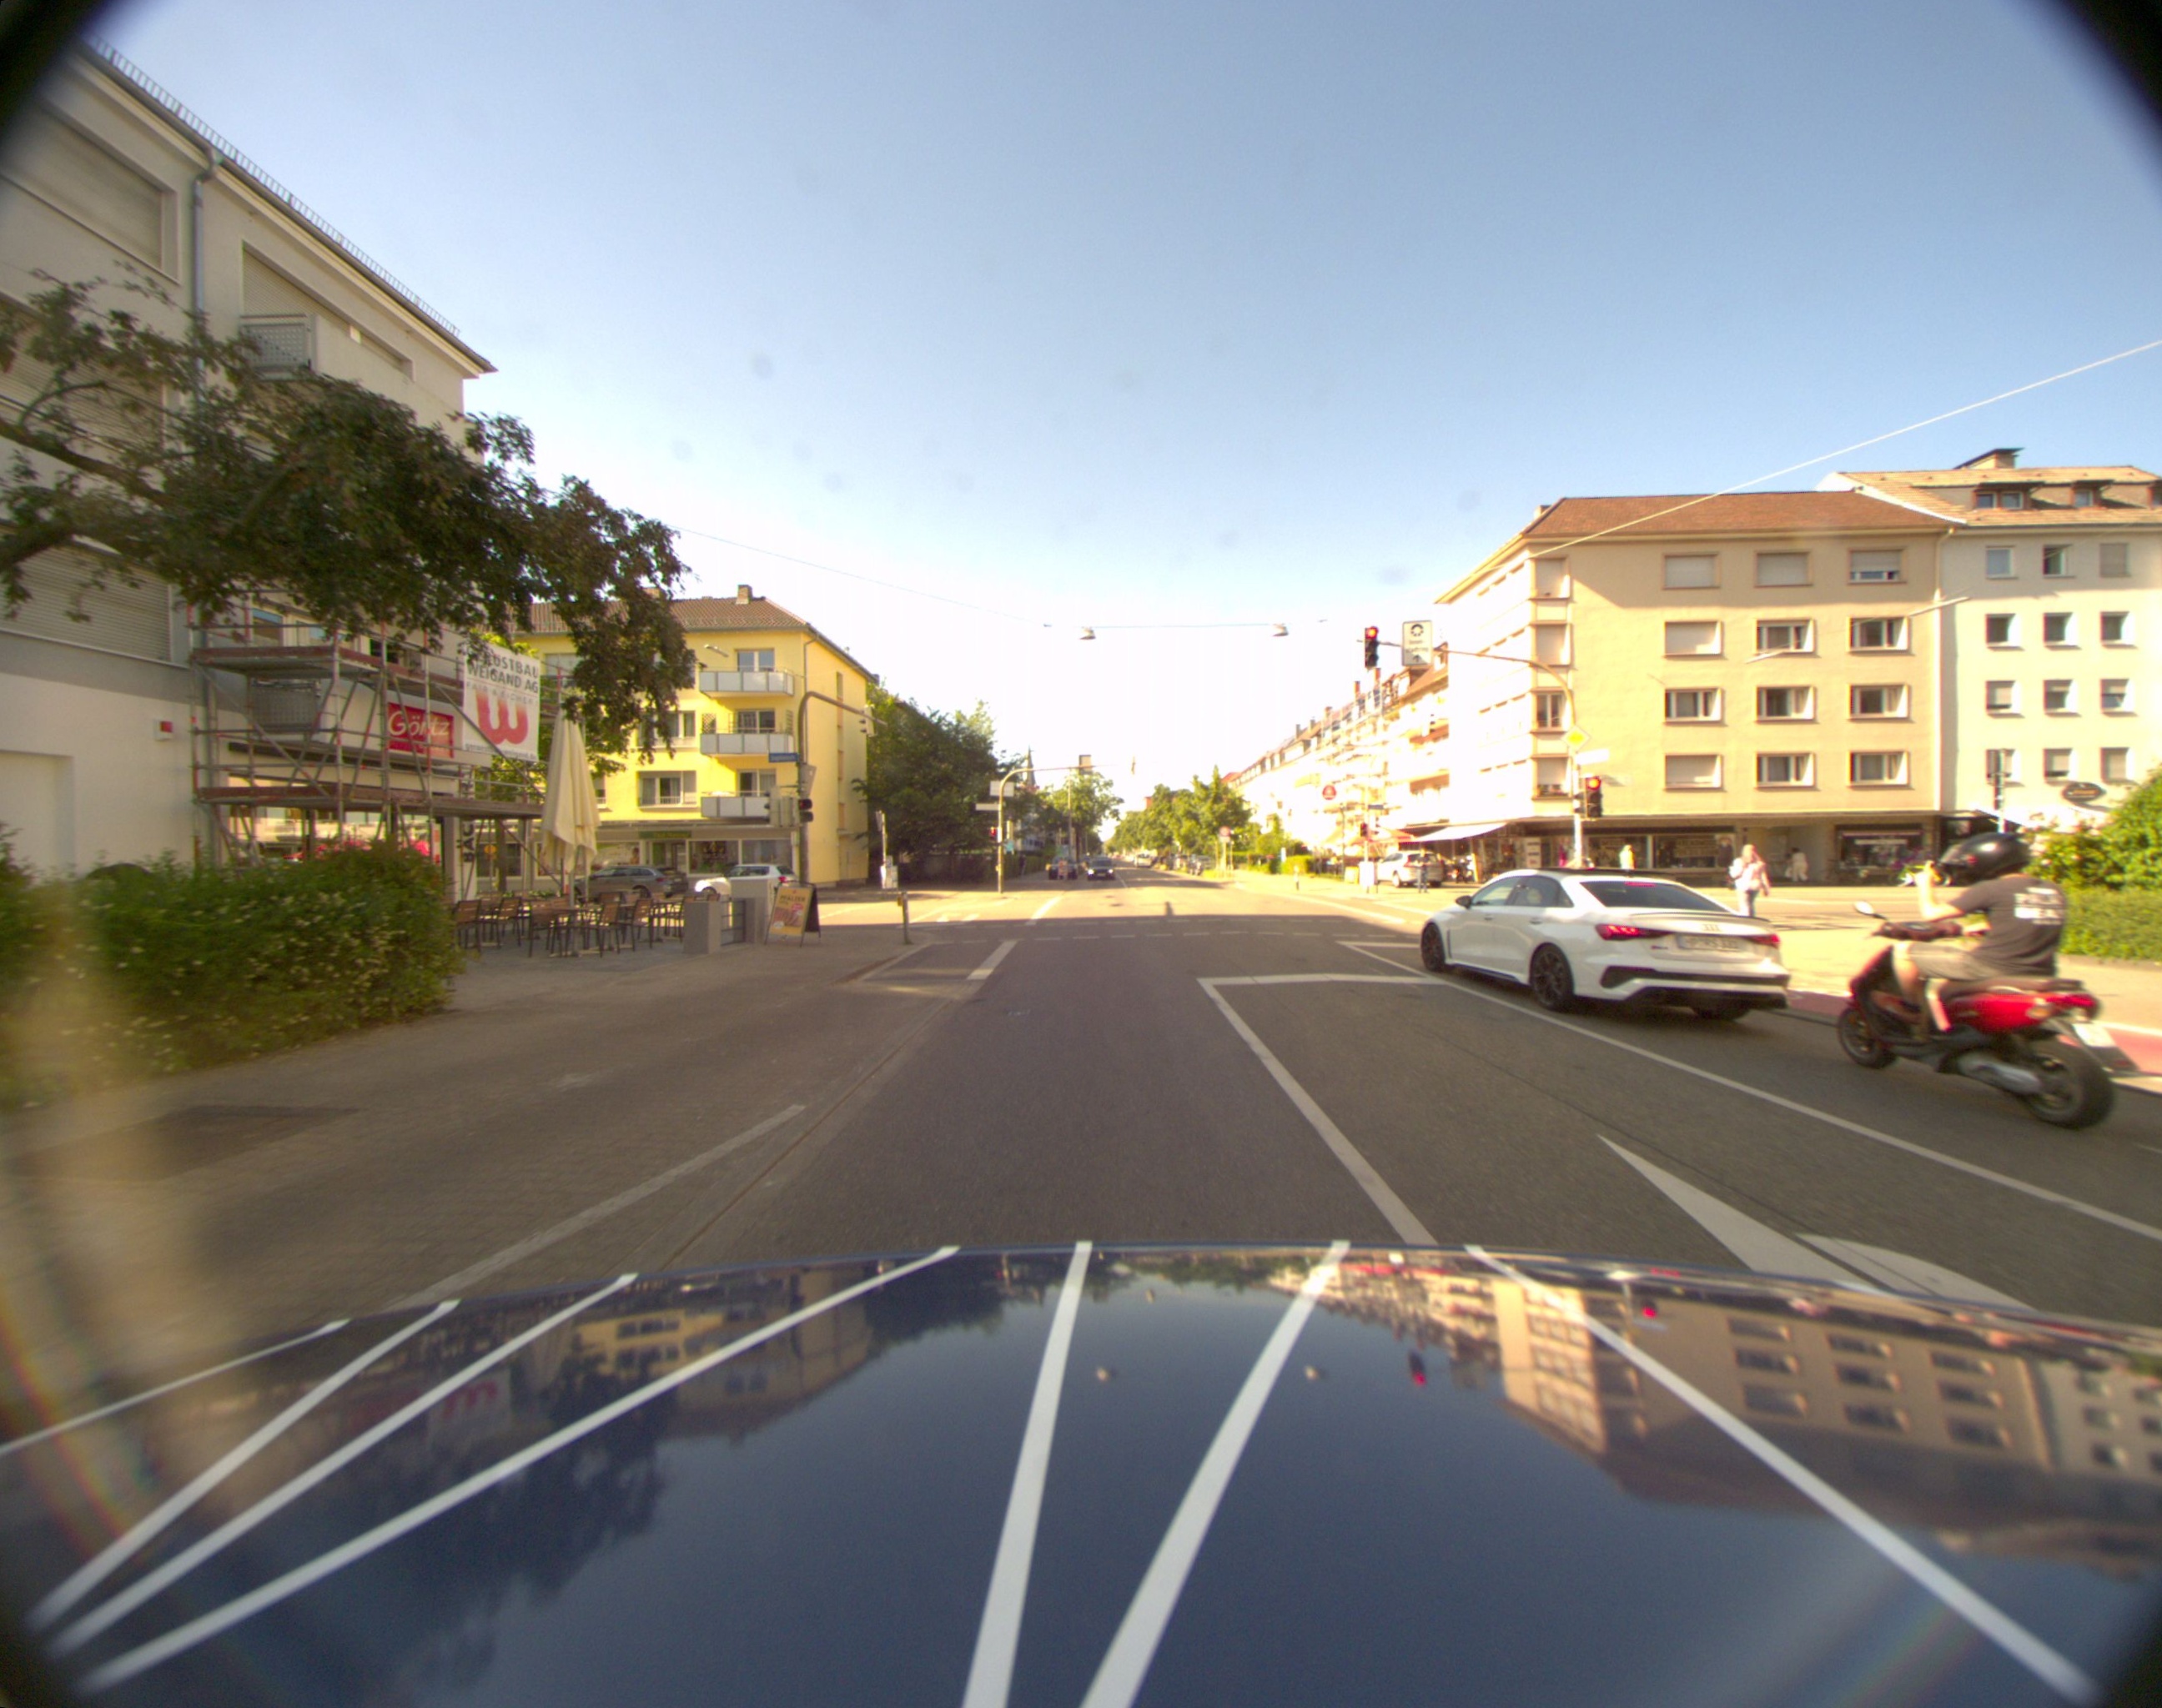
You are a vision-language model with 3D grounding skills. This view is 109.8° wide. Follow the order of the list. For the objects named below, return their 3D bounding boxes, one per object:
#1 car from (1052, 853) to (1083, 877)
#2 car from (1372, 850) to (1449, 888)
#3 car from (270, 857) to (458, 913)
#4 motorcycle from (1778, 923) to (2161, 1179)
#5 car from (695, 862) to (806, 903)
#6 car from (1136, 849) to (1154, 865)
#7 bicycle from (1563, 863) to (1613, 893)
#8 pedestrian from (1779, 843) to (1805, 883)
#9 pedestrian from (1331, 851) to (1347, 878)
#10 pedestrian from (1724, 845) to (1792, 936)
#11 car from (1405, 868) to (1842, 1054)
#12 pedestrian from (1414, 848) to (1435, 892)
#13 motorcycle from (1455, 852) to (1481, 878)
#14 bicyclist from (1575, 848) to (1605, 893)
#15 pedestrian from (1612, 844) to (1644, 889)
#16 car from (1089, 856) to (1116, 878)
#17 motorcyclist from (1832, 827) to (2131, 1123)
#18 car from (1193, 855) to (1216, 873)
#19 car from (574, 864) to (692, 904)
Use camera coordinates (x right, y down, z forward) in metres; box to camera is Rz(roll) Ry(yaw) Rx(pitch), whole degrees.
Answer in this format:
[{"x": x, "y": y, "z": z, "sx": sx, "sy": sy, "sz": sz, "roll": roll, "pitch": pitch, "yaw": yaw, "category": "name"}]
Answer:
[{"x": -0.871, "y": 0.693, "z": 52.088, "sx": 1.822, "sy": 1.541, "sz": 4.304, "roll": -1, "pitch": 0, "yaw": 2, "category": "car"}, {"x": 14.882, "y": 0.624, "z": 34.588, "sx": 1.764, "sy": 1.613, "sz": 4.304, "roll": -1, "pitch": 0, "yaw": 2, "category": "car"}, {"x": -25.426, "y": 1.078, "z": 27.058, "sx": 4.961, "sy": 1.849, "sz": 1.866, "roll": -1, "pitch": -1, "yaw": 1, "category": "car"}, {"x": 5.472, "y": 1.089, "z": 4.821, "sx": 0.449, "sy": 1.115, "sz": 1.933, "roll": 2, "pitch": 0, "yaw": 6, "category": "motorcycle"}, {"x": -12.876, "y": 1.094, "z": 29.733, "sx": 3.644, "sy": 1.473, "sz": 1.481, "roll": -1, "pitch": 1, "yaw": 2, "category": "car"}, {"x": 7.940, "y": 0.340, "z": 94.378, "sx": 1.965, "sy": 1.910, "sz": 5.497, "roll": -1, "pitch": 0, "yaw": 2, "category": "car"}, {"x": 18.610, "y": 0.878, "z": 27.894, "sx": 1.565, "sy": 1.070, "sz": 0.449, "roll": -1, "pitch": 1, "yaw": 0, "category": "bicycle"}, {"x": 29.358, "y": 0.374, "z": 31.379, "sx": 0.564, "sy": 1.636, "sz": 0.727, "roll": -2, "pitch": 1, "yaw": -40, "category": "pedestrian"}, {"x": 14.937, "y": 0.612, "z": 43.971, "sx": 0.643, "sy": 1.502, "sz": 0.535, "roll": -5, "pitch": 1, "yaw": 0, "category": "pedestrian"}, {"x": 12.601, "y": 0.659, "z": 14.156, "sx": 0.659, "sy": 1.649, "sz": 0.682, "roll": -1, "pitch": 1, "yaw": 3, "category": "pedestrian"}, {"x": 5.444, "y": 0.924, "z": 8.536, "sx": 1.702, "sy": 1.398, "sz": 4.506, "roll": 1, "pitch": 0, "yaw": 1, "category": "car"}, {"x": 13.498, "y": 0.614, "z": 29.867, "sx": 0.671, "sy": 1.709, "sz": 0.584, "roll": -1, "pitch": 2, "yaw": 11, "category": "pedestrian"}, {"x": 20.886, "y": 0.592, "z": 41.059, "sx": 0.570, "sy": 1.360, "sz": 1.763, "roll": -1, "pitch": 0, "yaw": 4, "category": "motorcycle"}, {"x": 18.671, "y": 0.603, "z": 27.871, "sx": 0.685, "sy": 1.598, "sz": 0.578, "roll": -1, "pitch": 1, "yaw": 0, "category": "bicyclist"}, {"x": 21.526, "y": 0.470, "z": 29.912, "sx": 0.728, "sy": 1.725, "sz": 0.683, "roll": -1, "pitch": 2, "yaw": 0, "category": "pedestrian"}, {"x": 1.426, "y": 0.807, "z": 49.450, "sx": 1.654, "sy": 1.348, "sz": 4.304, "roll": -1, "pitch": 0, "yaw": 2, "category": "car"}, {"x": 5.517, "y": 0.675, "z": 4.738, "sx": 0.730, "sy": 1.637, "sz": 0.918, "roll": 2, "pitch": 1, "yaw": 7, "category": "motorcyclist"}, {"x": 9.434, "y": 0.761, "z": 58.106, "sx": 1.322, "sy": 1.348, "sz": 3.093, "roll": -1, "pitch": 0, "yaw": 2, "category": "car"}, {"x": -17.553, "y": 1.160, "z": 29.871, "sx": 3.644, "sy": 1.473, "sz": 1.579, "roll": -1, "pitch": 1, "yaw": 2, "category": "car"}]
